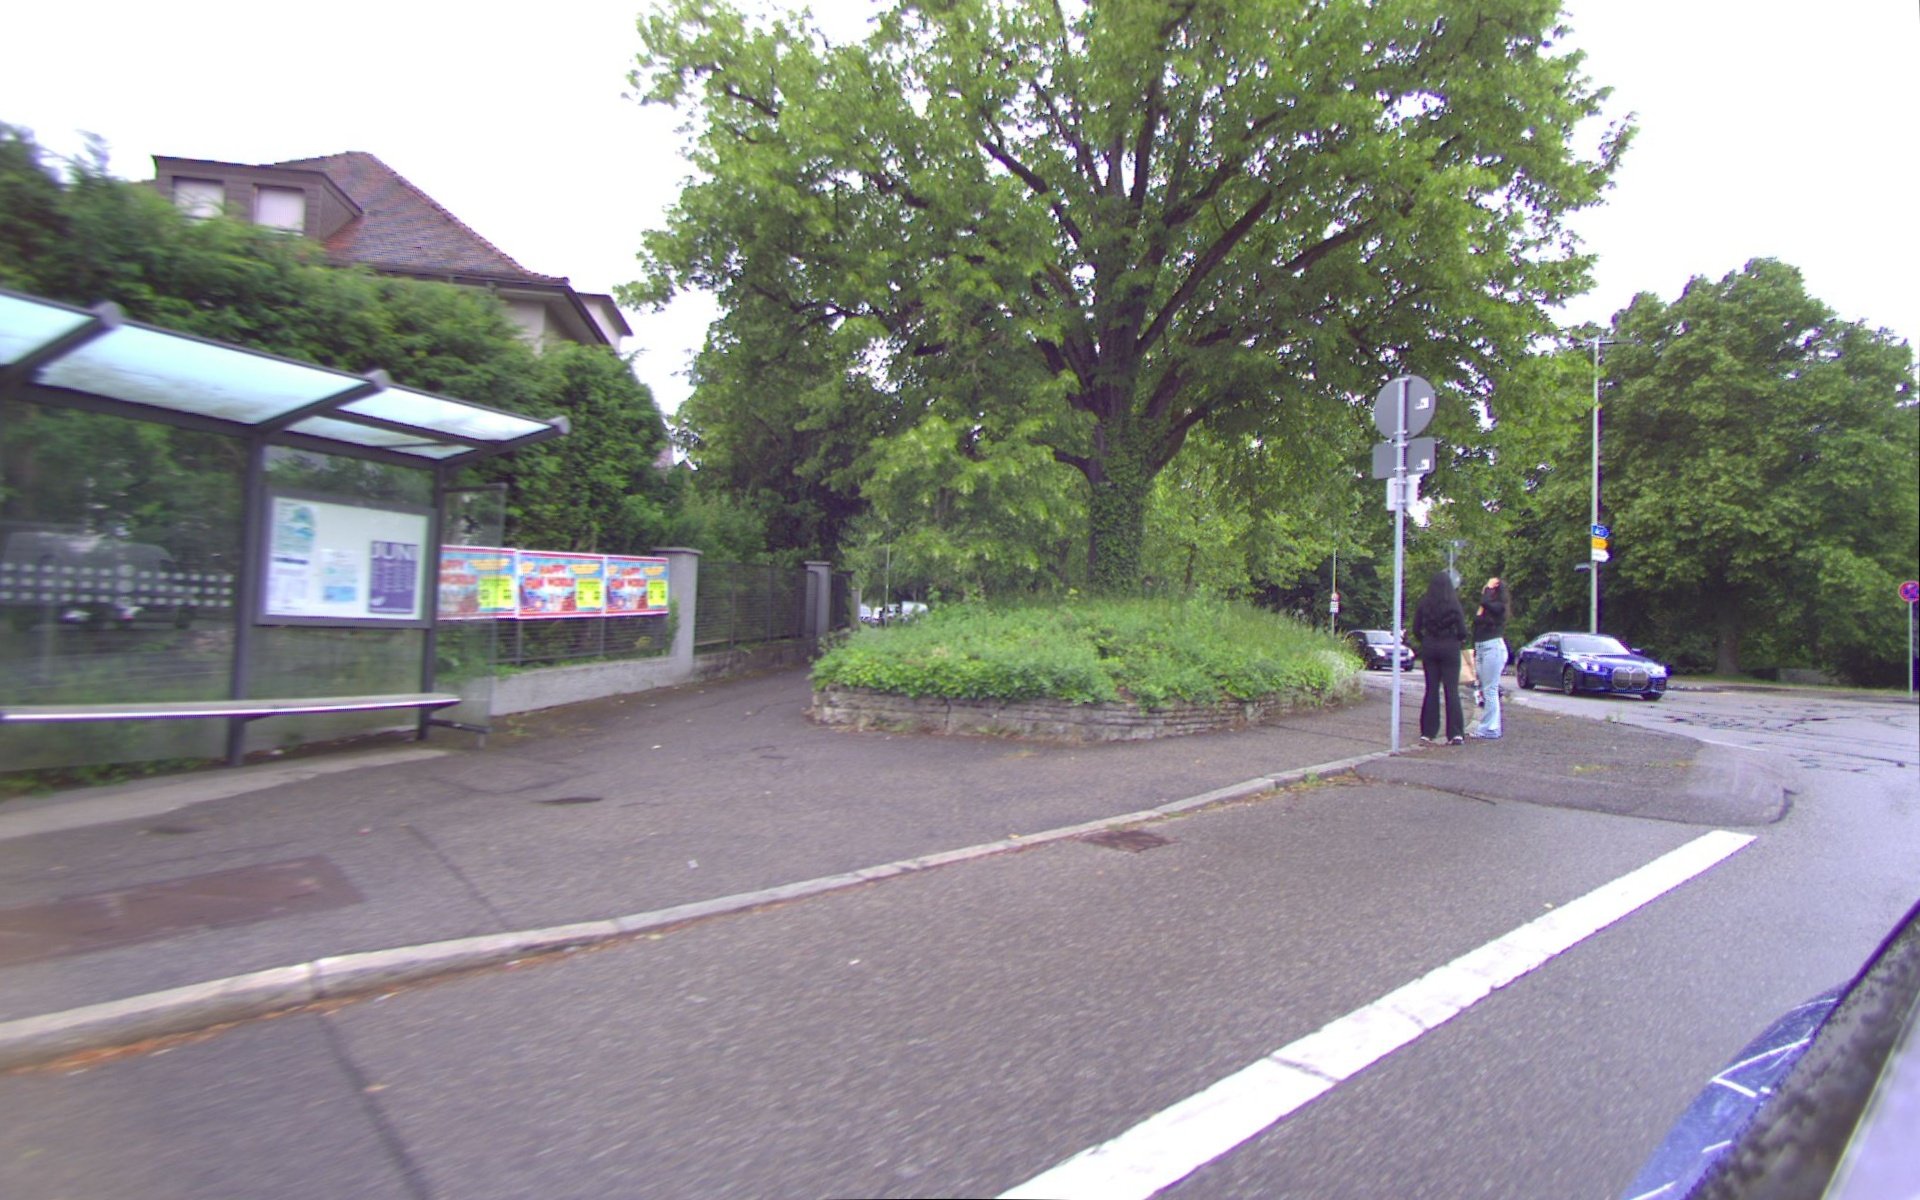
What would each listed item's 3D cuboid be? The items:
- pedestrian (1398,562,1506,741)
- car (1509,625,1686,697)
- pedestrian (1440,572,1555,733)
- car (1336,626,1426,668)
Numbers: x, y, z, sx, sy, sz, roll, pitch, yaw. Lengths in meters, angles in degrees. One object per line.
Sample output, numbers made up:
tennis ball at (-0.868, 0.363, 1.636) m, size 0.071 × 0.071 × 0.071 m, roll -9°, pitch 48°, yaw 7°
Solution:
pedestrian at (5.082, 0.502, 10.454) m, size 0.805 × 1.754 × 0.724 m, roll 1°, pitch 0°, yaw -42°
car at (14.810, 1.343, 23.843) m, size 1.734 × 1.455 × 4.659 m, roll 1°, pitch -1°, yaw 8°
pedestrian at (5.820, 0.552, 10.995) m, size 0.803 × 1.675 × 0.726 m, roll 1°, pitch 0°, yaw -4°
car at (16.213, 1.774, 39.217) m, size 1.829 × 1.433 × 4.381 m, roll 1°, pitch -1°, yaw 3°
